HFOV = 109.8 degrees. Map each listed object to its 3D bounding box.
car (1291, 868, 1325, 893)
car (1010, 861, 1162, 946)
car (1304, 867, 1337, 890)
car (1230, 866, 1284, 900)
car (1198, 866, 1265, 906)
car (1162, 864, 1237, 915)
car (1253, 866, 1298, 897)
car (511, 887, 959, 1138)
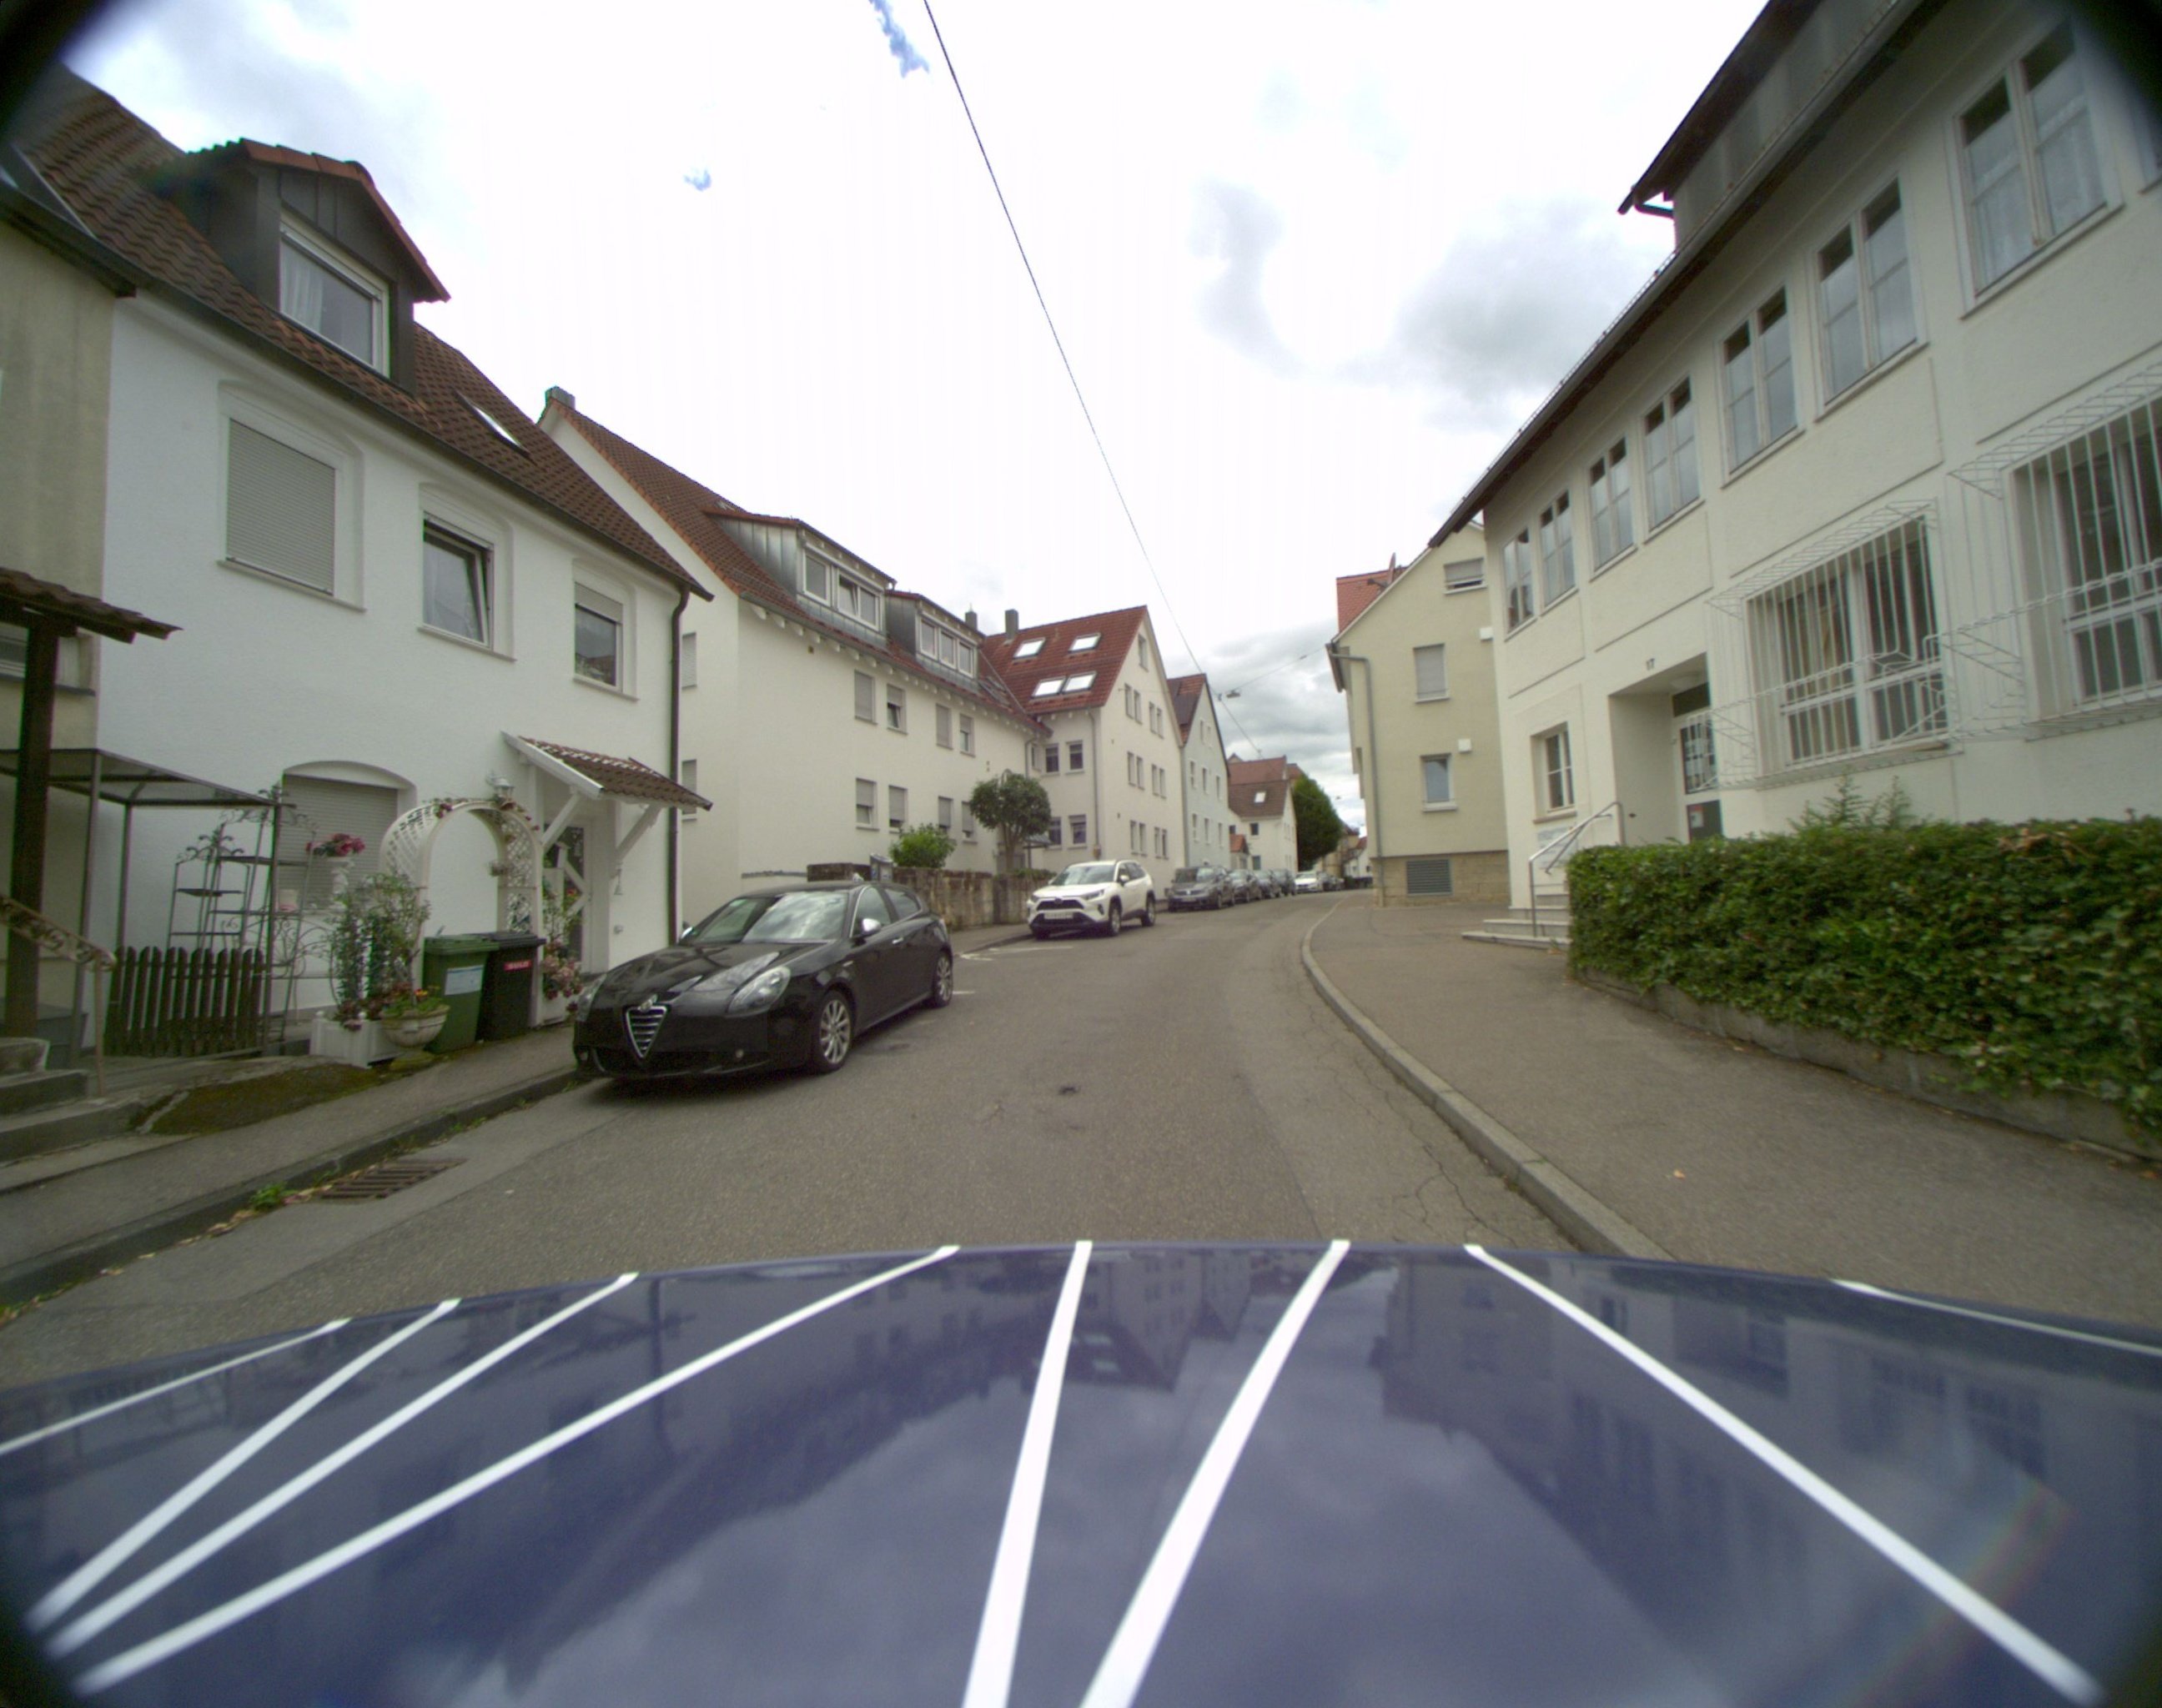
[{"bbox_3d":[15.925,1.845,53.096,1.768,1.553,4.048,-5,-3,22],"label":"car"},{"bbox_3d":[0.293,1.064,17.560,1.948,1.629,4.468,-5,-3,21],"label":"car"},{"bbox_3d":[18.416,1.888,58.324,1.768,1.609,4.291,-5,-4,25],"label":"car"},{"bbox_3d":[8.517,1.366,36.527,1.727,1.433,4.273,-5,-3,22],"label":"car"},{"bbox_3d":[6.393,1.305,31.885,1.810,1.434,3.966,-5,-2,24],"label":"car"},{"bbox_3d":[4.271,1.214,26.947,1.737,1.554,3.915,-5,-2,20],"label":"car"},{"bbox_3d":[10.520,1.477,40.937,1.640,1.502,3.848,-4,-3,23],"label":"car"},{"bbox_3d":[-2.549,1.113,6.811,1.721,1.398,4.005,-4,-1,8],"label":"car"}]
